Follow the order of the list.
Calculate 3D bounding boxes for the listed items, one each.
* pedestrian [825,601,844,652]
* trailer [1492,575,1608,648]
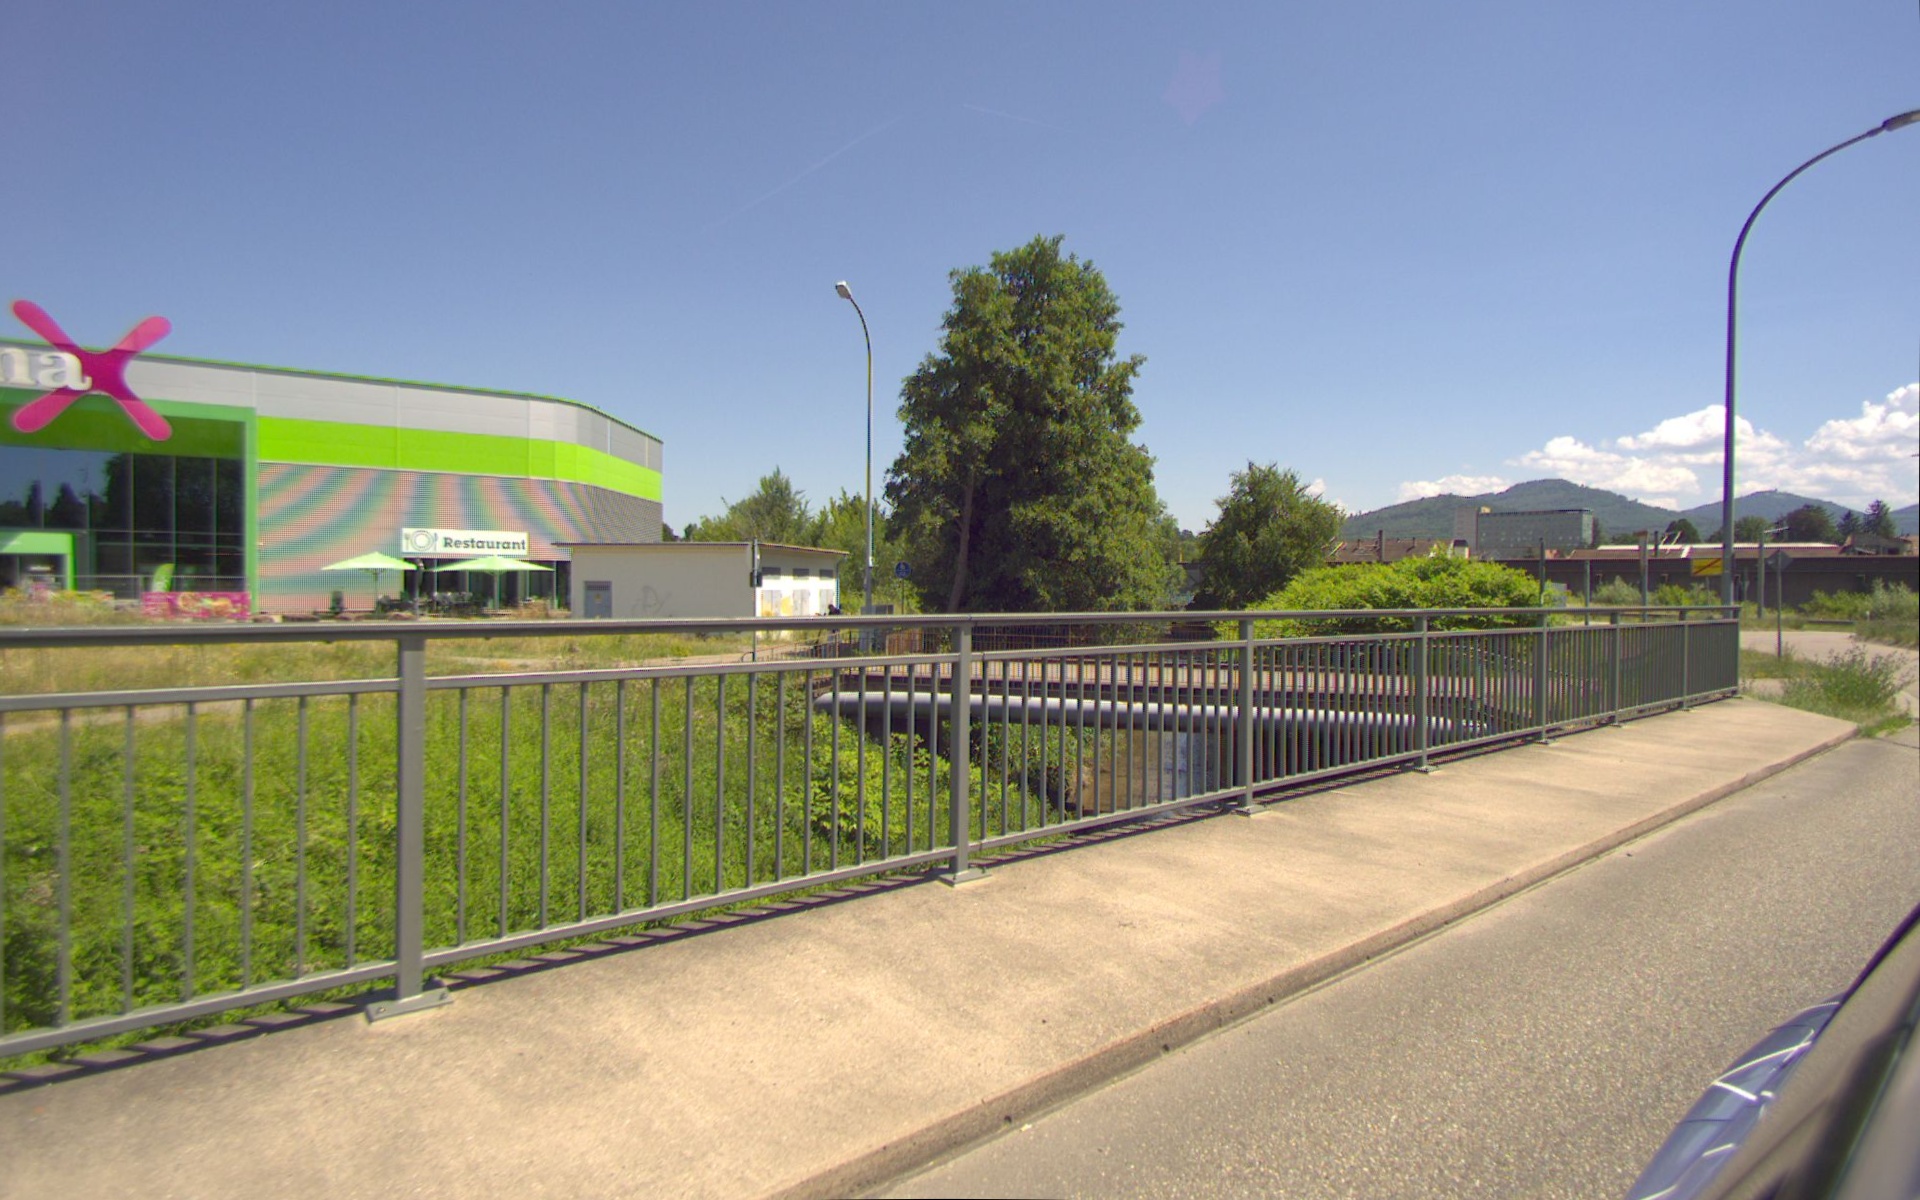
[{"bbox_3d":[-3.865,0.810,31.174,0.434,1.558,0.410,0,-2,25],"label":"pedestrian"},{"bbox_3d":[18.162,0.278,31.363,1.822,2.104,3.958,0,1,10],"label":"trailer"}]
